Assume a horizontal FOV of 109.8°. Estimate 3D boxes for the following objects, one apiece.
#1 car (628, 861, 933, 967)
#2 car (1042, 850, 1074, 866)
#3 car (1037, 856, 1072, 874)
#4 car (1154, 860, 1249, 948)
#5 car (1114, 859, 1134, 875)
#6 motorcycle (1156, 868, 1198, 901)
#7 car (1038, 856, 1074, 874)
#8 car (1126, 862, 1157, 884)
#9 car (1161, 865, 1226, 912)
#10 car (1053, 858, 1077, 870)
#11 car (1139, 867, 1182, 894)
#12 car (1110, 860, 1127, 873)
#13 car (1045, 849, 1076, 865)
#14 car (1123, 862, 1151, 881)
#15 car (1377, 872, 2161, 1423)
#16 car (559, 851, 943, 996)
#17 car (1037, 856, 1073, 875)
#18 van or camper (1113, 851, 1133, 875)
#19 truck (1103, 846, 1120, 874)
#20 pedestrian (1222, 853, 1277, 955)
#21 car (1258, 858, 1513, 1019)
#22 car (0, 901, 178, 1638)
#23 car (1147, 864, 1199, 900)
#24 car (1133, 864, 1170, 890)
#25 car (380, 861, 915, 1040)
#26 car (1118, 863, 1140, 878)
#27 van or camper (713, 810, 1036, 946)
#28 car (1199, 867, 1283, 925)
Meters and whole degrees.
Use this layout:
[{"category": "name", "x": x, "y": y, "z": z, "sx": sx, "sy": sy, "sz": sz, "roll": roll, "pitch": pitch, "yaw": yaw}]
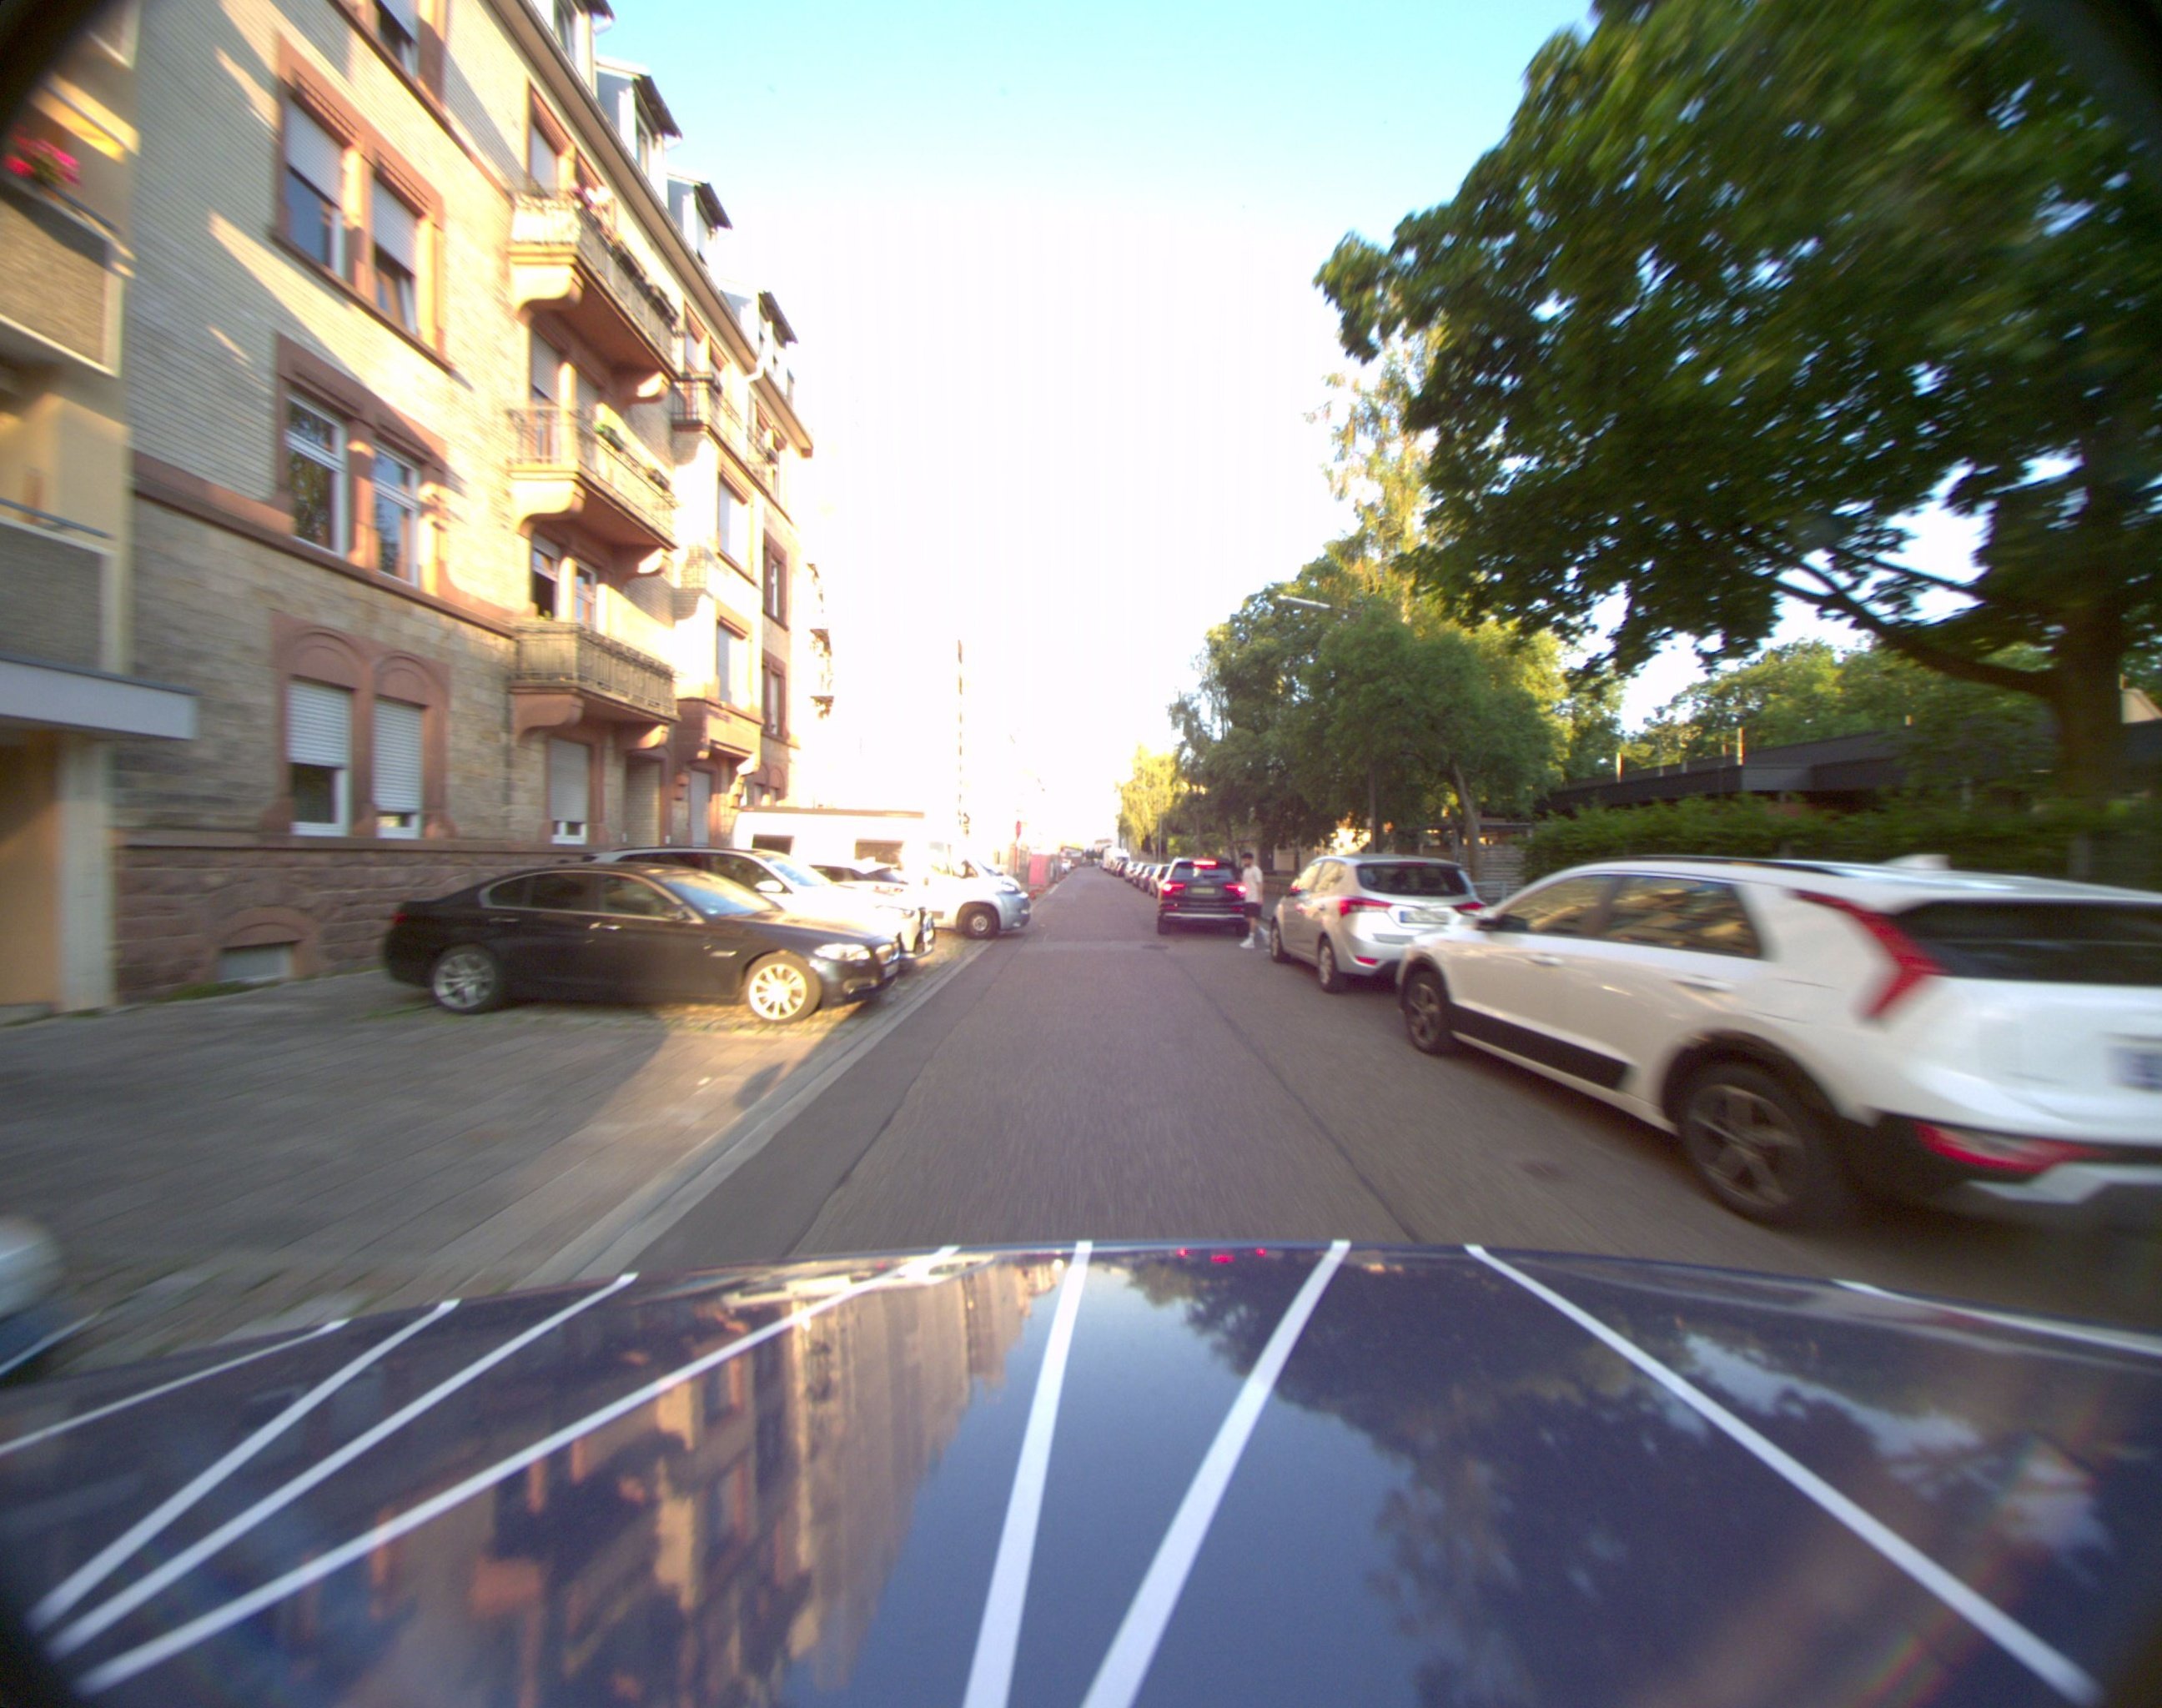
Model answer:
[{"category": "car", "x": -4.932, "y": 0.960, "z": 12.901, "sx": 4.414, "sy": 1.609, "sz": 1.846, "roll": -1, "pitch": 0, "yaw": 2}, {"category": "car", "x": -2.927, "y": 0.522, "z": 98.323, "sx": 3.997, "sy": 2.002, "sz": 2.000, "roll": -1, "pitch": 0, "yaw": 0}, {"category": "car", "x": -3.160, "y": 1.277, "z": 89.955, "sx": 3.997, "sy": 2.002, "sz": 2.000, "roll": -1, "pitch": 0, "yaw": 0}, {"category": "car", "x": 2.541, "y": 0.953, "z": 16.339, "sx": 1.737, "sy": 1.621, "sz": 4.128, "roll": 1, "pitch": 0, "yaw": 8}, {"category": "car", "x": 4.280, "y": 1.272, "z": 76.459, "sx": 1.738, "sy": 1.502, "sz": 4.291, "roll": 1, "pitch": 0, "yaw": 0}, {"category": "motorcycle", "x": 3.762, "y": 1.197, "z": 29.924, "sx": 1.596, "sy": 1.251, "sz": 0.785, "roll": -1, "pitch": 0, "yaw": 3}, {"category": "car", "x": -2.832, "y": 1.264, "z": 87.403, "sx": 3.997, "sy": 2.002, "sz": 2.000, "roll": -1, "pitch": 0, "yaw": 0}, {"category": "car", "x": 4.131, "y": 1.275, "z": 52.332, "sx": 1.738, "sy": 1.358, "sz": 4.291, "roll": 1, "pitch": 0, "yaw": 0}, {"category": "car", "x": 3.808, "y": 1.134, "z": 26.302, "sx": 1.738, "sy": 1.438, "sz": 3.805, "roll": 1, "pitch": 0, "yaw": 1}, {"category": "car", "x": -2.677, "y": 1.664, "z": 130.886, "sx": 3.997, "sy": 2.002, "sz": 2.000, "roll": -1, "pitch": 0, "yaw": 0}, {"category": "car", "x": 3.970, "y": 1.306, "z": 38.501, "sx": 1.738, "sy": 1.280, "sz": 3.805, "roll": 1, "pitch": 0, "yaw": 0}, {"category": "car", "x": 4.464, "y": 1.532, "z": 90.962, "sx": 1.738, "sy": 1.502, "sz": 4.291, "roll": 1, "pitch": 0, "yaw": 0}, {"category": "car", "x": -2.684, "y": 0.412, "z": 101.610, "sx": 3.997, "sy": 2.002, "sz": 2.000, "roll": -1, "pitch": 0, "yaw": 0}, {"category": "car", "x": 4.269, "y": 1.294, "z": 58.314, "sx": 1.738, "sy": 1.358, "sz": 4.291, "roll": 1, "pitch": 0, "yaw": 0}, {"category": "car", "x": 3.493, "y": 0.922, "z": 4.385, "sx": 1.763, "sy": 1.533, "sz": 4.280, "roll": 1, "pitch": 0, "yaw": -2}, {"category": "car", "x": -4.271, "y": 0.862, "z": 10.363, "sx": 4.414, "sy": 1.738, "sz": 1.846, "roll": 1, "pitch": 0, "yaw": 0}, {"category": "car", "x": -2.900, "y": 1.261, "z": 85.185, "sx": 3.997, "sy": 2.002, "sz": 2.000, "roll": -1, "pitch": 0, "yaw": 0}, {"category": "van or camper", "x": 4.528, "y": 0.953, "z": 81.752, "sx": 1.825, "sy": 2.400, "sz": 4.291, "roll": 1, "pitch": 0, "yaw": 0}, {"category": "truck", "x": 4.363, "y": 0.810, "z": 108.534, "sx": 2.182, "sy": 3.860, "sz": 4.927, "roll": -1, "pitch": 0, "yaw": 1}, {"category": "pedestrian", "x": 2.923, "y": 0.854, "z": 13.219, "sx": 0.748, "sy": 1.692, "sz": 0.558, "roll": -3, "pitch": 0, "yaw": -3}, {"category": "car", "x": 3.589, "y": 0.885, "z": 9.794, "sx": 1.737, "sy": 1.621, "sz": 3.981, "roll": 1, "pitch": 0, "yaw": 1}, {"category": "car", "x": -4.536, "y": 0.883, "z": 1.086, "sx": 4.413, "sy": 1.545, "sz": 1.845, "roll": 1, "pitch": 2, "yaw": 3}, {"category": "car", "x": 3.937, "y": 1.174, "z": 32.962, "sx": 1.738, "sy": 1.417, "sz": 3.805, "roll": 1, "pitch": 0, "yaw": 0}, {"category": "car", "x": 4.027, "y": 1.295, "z": 43.781, "sx": 1.738, "sy": 1.358, "sz": 3.805, "roll": 1, "pitch": 0, "yaw": 0}, {"category": "car", "x": -4.149, "y": 0.902, "z": 7.829, "sx": 4.414, "sy": 1.544, "sz": 1.846, "roll": 1, "pitch": -2, "yaw": 1}, {"category": "car", "x": 4.379, "y": 1.490, "z": 70.386, "sx": 1.738, "sy": 1.358, "sz": 4.291, "roll": 1, "pitch": 0, "yaw": 0}, {"category": "van or camper", "x": -4.069, "y": 0.470, "z": 15.747, "sx": 6.074, "sy": 2.489, "sz": 2.050, "roll": 1, "pitch": 0, "yaw": 1}, {"category": "car", "x": 4.320, "y": 1.103, "z": 20.947, "sx": 1.623, "sy": 1.417, "sz": 3.416, "roll": 1, "pitch": 0, "yaw": 1}]
